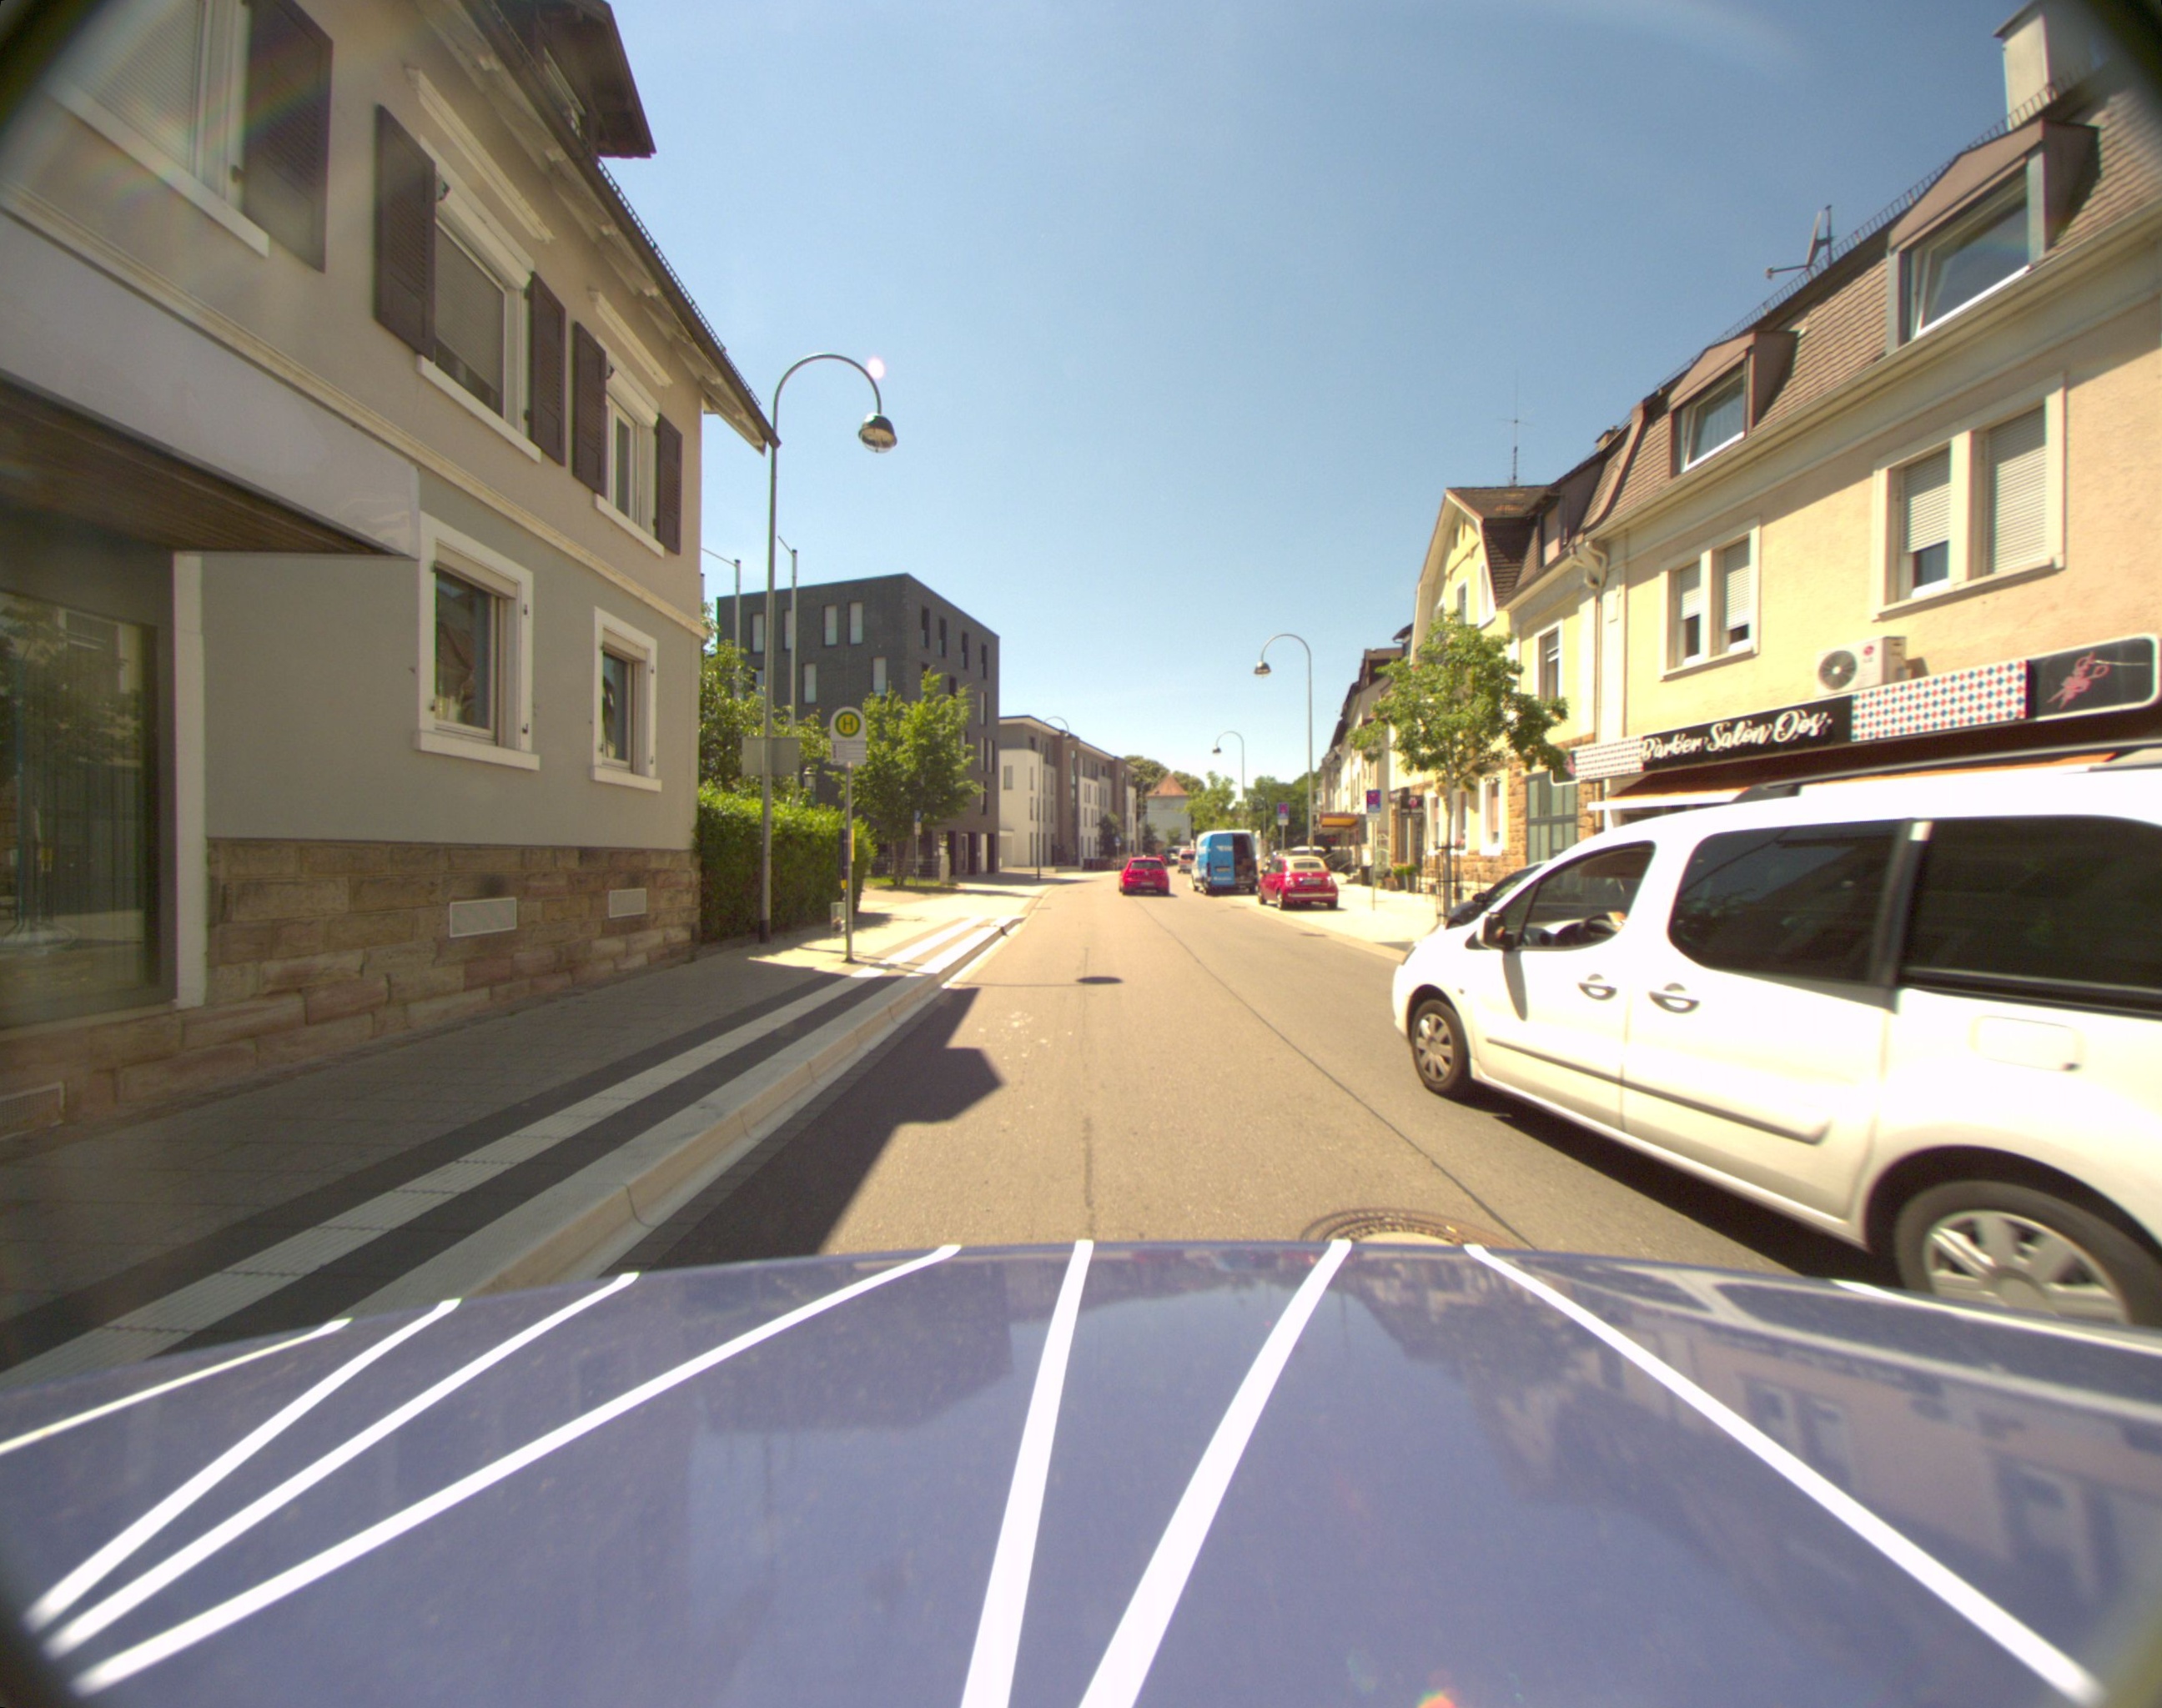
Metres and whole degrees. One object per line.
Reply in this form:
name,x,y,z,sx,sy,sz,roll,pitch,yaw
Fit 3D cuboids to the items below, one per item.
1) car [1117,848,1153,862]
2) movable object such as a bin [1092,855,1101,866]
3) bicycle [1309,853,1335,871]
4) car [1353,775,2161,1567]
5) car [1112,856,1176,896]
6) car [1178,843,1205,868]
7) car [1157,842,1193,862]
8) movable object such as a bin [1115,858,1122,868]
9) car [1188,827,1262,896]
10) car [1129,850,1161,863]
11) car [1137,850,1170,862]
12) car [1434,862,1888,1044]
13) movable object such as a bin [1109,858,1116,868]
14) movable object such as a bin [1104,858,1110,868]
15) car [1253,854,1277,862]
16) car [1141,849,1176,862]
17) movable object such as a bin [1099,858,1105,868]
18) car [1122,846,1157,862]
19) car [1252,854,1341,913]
car,6.245,0.122,86.988,3.813,1.474,1.780,1,1,15
movable object such as a bin,1.536,0.674,75.147,0.646,1.054,0.626,3,2,18
bicycle,17.795,0.576,56.077,1.767,1.227,0.617,-3,0,16
car,3.278,0.742,3.507,2.000,1.811,4.412,1,0,-7
car,2.374,0.803,29.721,1.921,1.418,3.978,0,0,-4
car,10.789,0.148,73.879,2.159,2.348,5.253,1,0,12
car,13.467,-0.345,108.597,4.860,2.720,1.853,1,1,17
movable object such as a bin,3.580,0.860,72.287,0.474,0.925,0.529,2,2,17
car,5.756,0.275,31.005,2.097,2.483,5.503,-2,0,2
car,7.826,0.277,92.304,3.612,1.454,1.619,2,1,16
car,9.042,0.250,94.626,3.813,1.454,1.654,1,1,16
car,6.162,0.902,8.909,1.920,1.473,4.336,-2,0,-1
movable object such as a bin,2.990,0.840,72.461,0.474,0.925,0.529,2,2,17
movable object such as a bin,2.486,0.832,72.611,0.474,0.925,0.529,2,2,17
car,33.440,0.704,137.967,3.943,1.528,1.833,0,1,-17
car,10.001,0.193,98.266,4.353,1.542,1.654,1,1,14
movable object such as a bin,1.994,0.822,72.754,0.474,0.925,0.529,2,2,17
car,6.868,-0.052,89.180,3.813,1.776,1.842,1,1,15
car,6.261,0.804,22.429,1.564,1.512,3.514,-1,1,-1
